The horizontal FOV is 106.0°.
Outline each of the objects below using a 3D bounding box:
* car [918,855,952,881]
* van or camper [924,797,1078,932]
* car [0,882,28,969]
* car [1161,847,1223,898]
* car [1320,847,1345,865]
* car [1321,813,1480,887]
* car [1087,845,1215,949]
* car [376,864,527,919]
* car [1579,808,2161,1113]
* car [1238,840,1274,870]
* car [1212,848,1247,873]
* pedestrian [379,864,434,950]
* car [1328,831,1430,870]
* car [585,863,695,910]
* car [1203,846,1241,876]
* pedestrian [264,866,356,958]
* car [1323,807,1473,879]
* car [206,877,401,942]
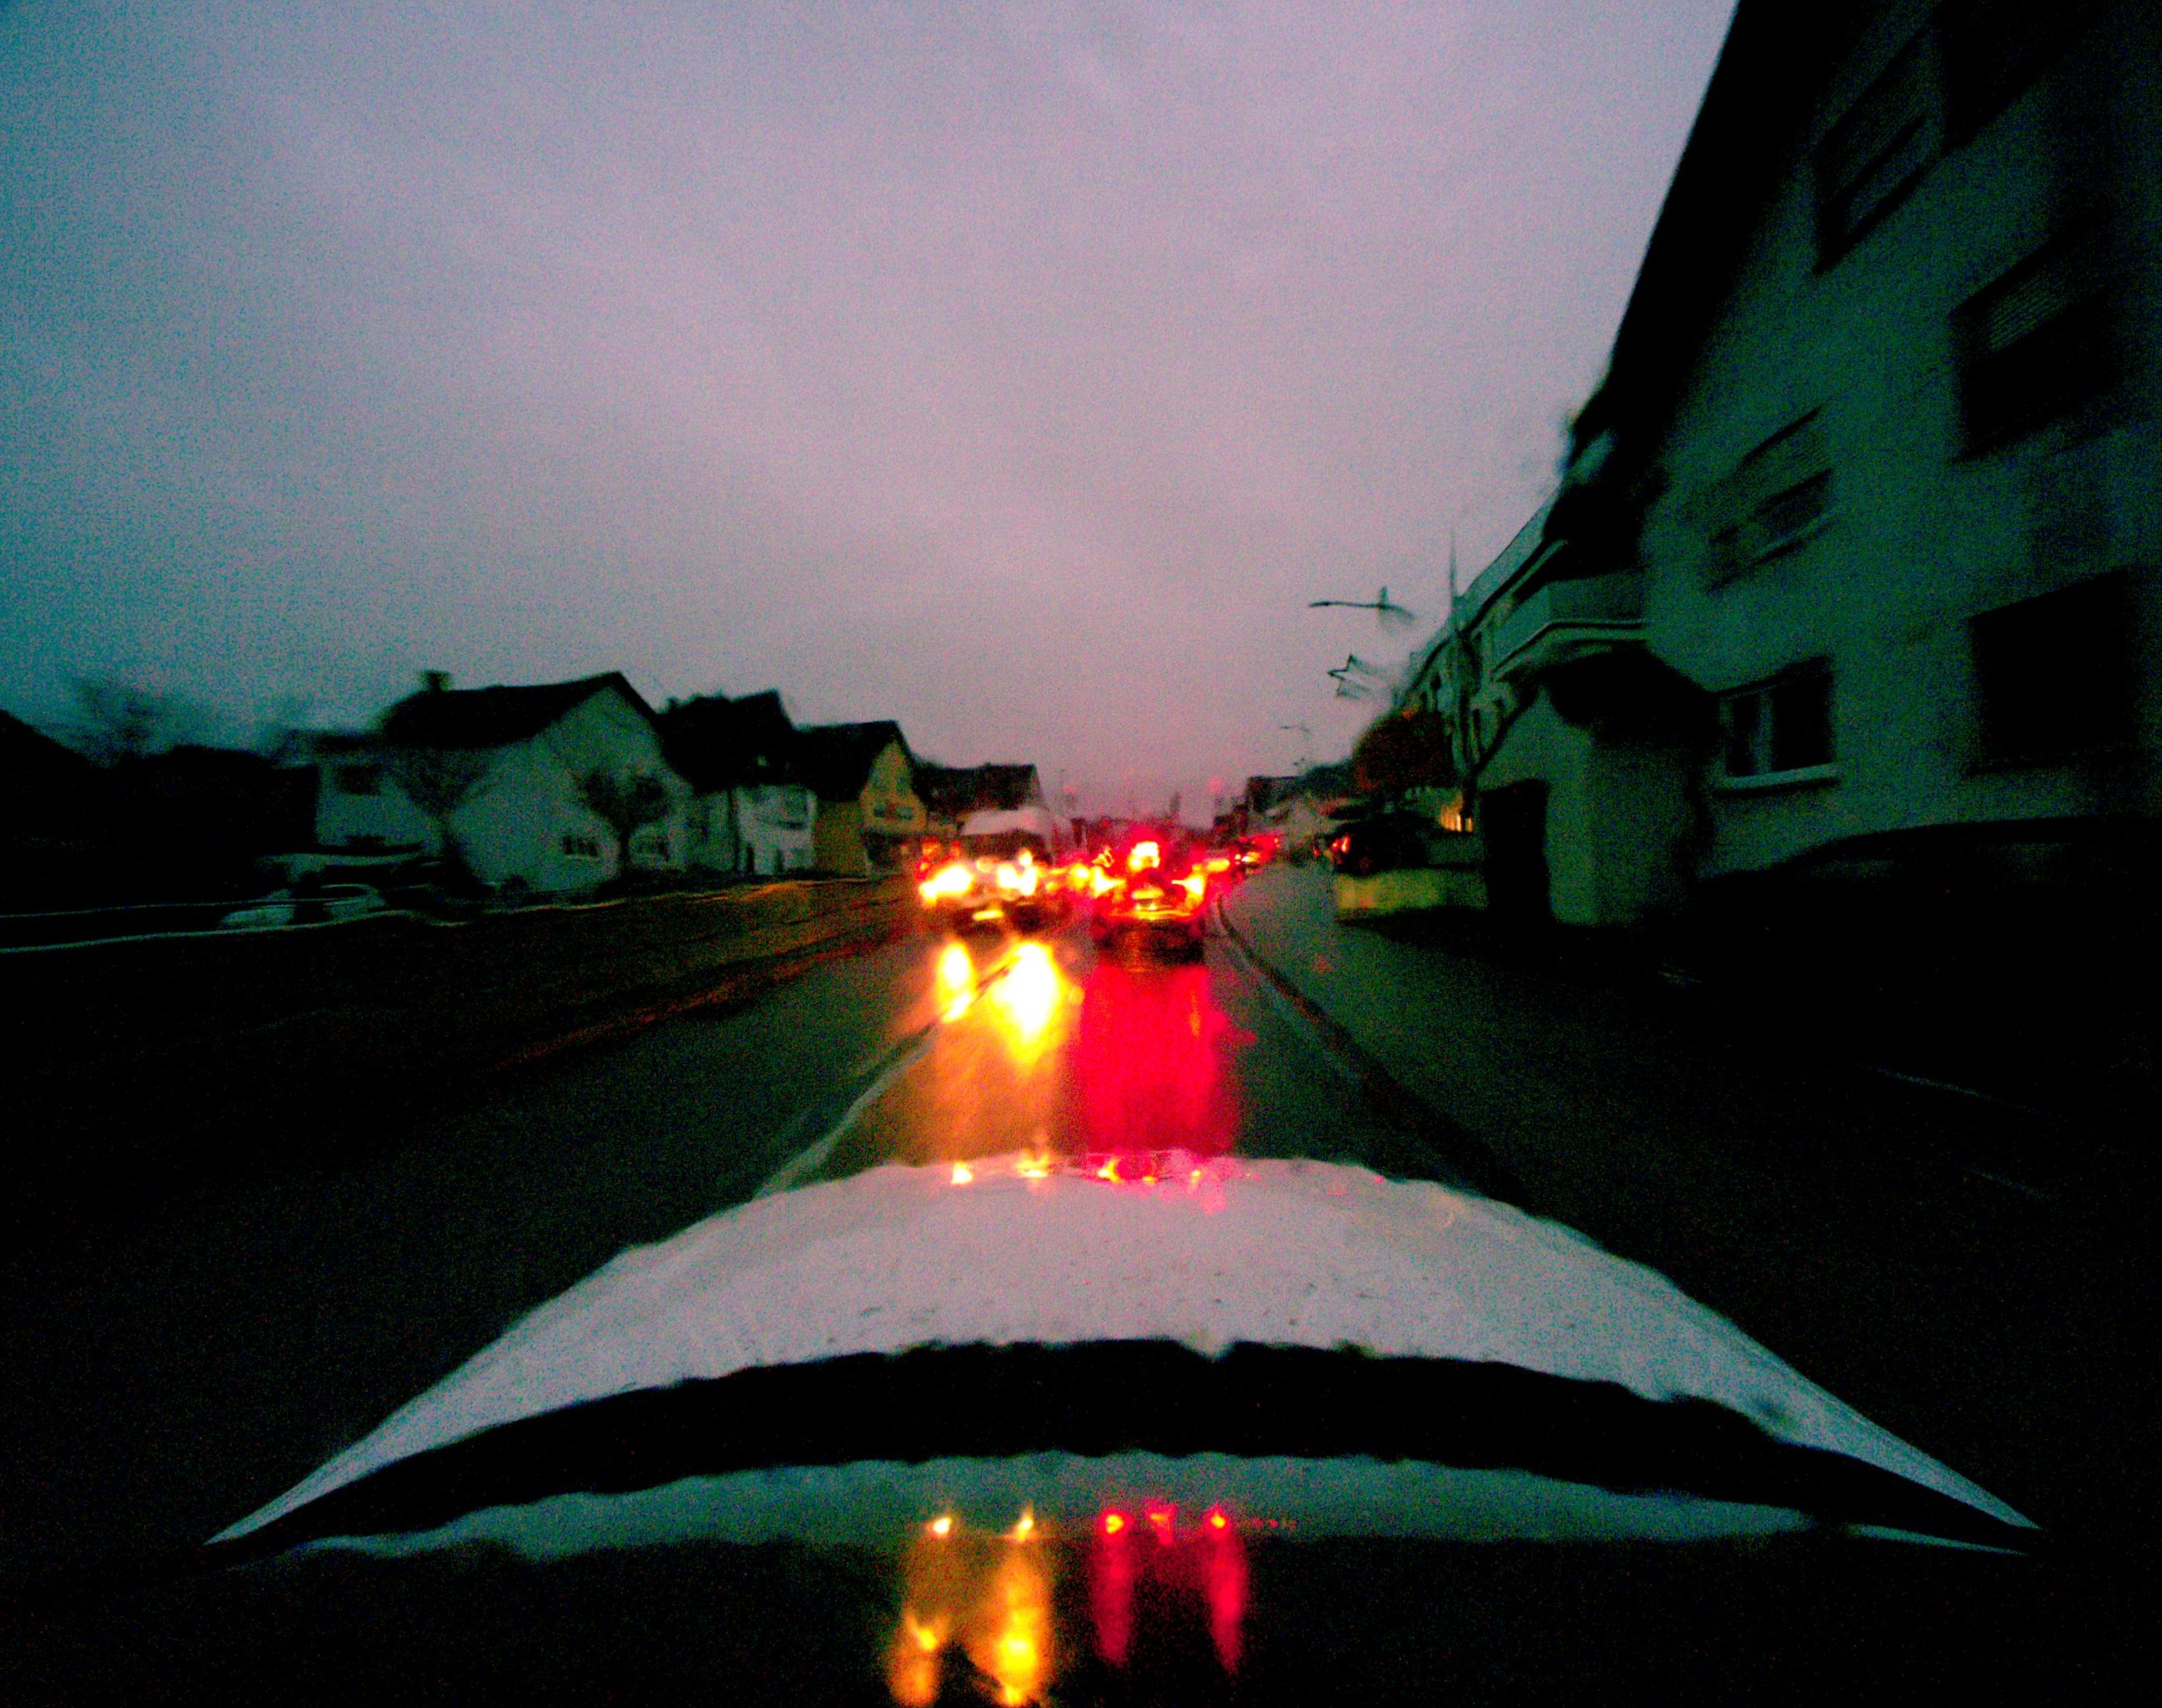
[{"bbox_3d":[-9.638,0.883,53.688,1.825,1.613,4.036,-2,0,-15],"label":"car"},{"bbox_3d":[-1.640,0.208,19.807,2.228,2.669,6.568,-2,0,7],"label":"van or camper"},{"bbox_3d":[-20.582,1.344,13.349,1.559,1.580,3.822,-3,-1,1],"label":"car"},{"bbox_3d":[3.831,0.572,27.579,1.671,1.453,4.014,-3,0,13],"label":"car"},{"bbox_3d":[22.400,0.141,72.506,1.551,1.413,3.622,-6,-1,25],"label":"car"},{"bbox_3d":[9.948,-0.114,25.596,4.157,1.639,1.806,-8,0,4],"label":"car"},{"bbox_3d":[1.321,0.648,14.730,1.954,1.594,4.321,0,1,6],"label":"car"},{"bbox_3d":[-22.652,1.342,29.395,3.970,1.694,1.866,-3,0,3],"label":"car"},{"bbox_3d":[5.671,0.479,5.564,1.764,1.393,3.904,-4,0,-7],"label":"car"},{"bbox_3d":[12.911,0.048,59.810,2.141,1.991,4.518,-5,-1,16],"label":"car"},{"bbox_3d":[9.103,0.356,49.710,1.980,1.391,4.013,-2,0,12],"label":"car"},{"bbox_3d":[-13.683,1.058,16.522,0.660,1.697,0.542,-1,0,7],"label":"pedestrian"},{"bbox_3d":[14.109,-0.156,38.748,4.184,1.460,1.796,-5,-1,6],"label":"car"},{"bbox_3d":[-18.186,1.289,33.842,1.901,1.682,4.225,-2,0,6],"label":"car"},{"bbox_3d":[7.131,0.333,41.318,1.804,1.412,4.010,0,1,9],"label":"car"},{"bbox_3d":[-15.625,1.156,16.527,0.925,1.784,0.973,-1,0,0],"label":"pedestrian"},{"bbox_3d":[11.198,-0.349,29.112,4.534,1.920,1.955,-7,-2,10],"label":"car"},{"bbox_3d":[-19.829,1.362,20.967,1.475,1.427,3.465,-2,-1,6],"label":"car"}]
